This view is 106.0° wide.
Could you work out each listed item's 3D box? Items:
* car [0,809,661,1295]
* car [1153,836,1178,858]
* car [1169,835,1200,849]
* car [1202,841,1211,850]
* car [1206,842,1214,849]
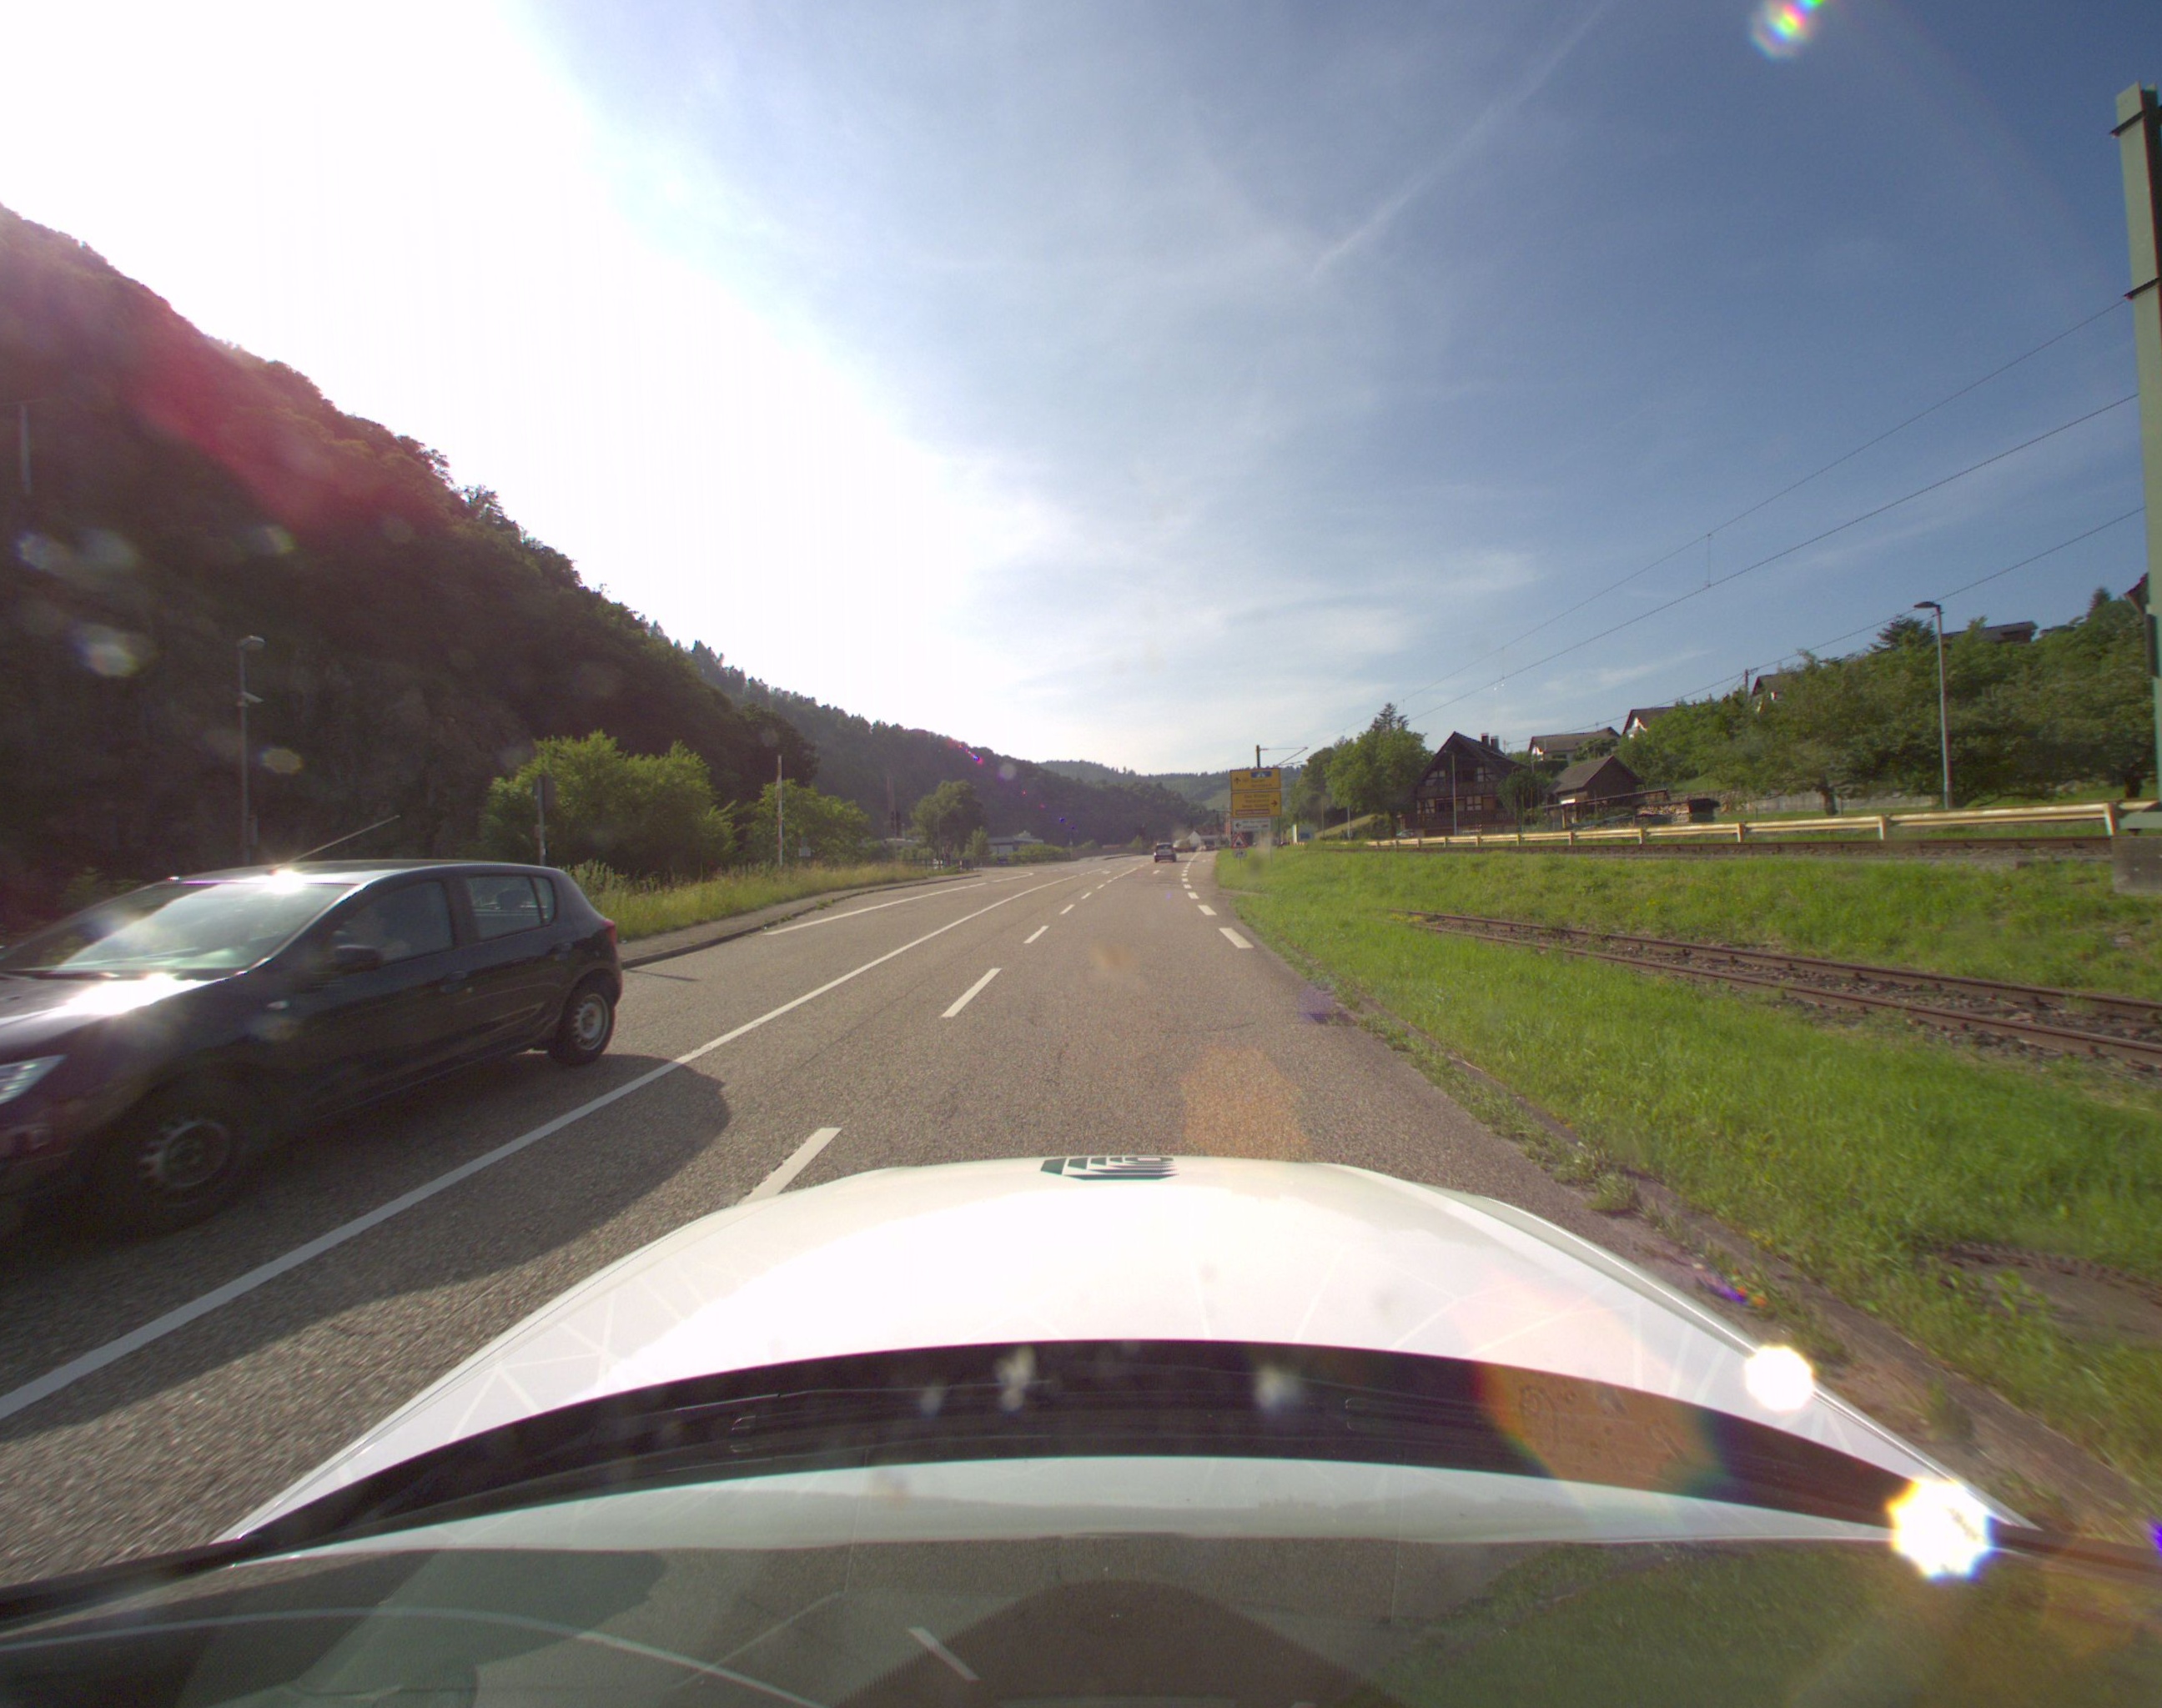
[{"bbox_3d":[-4.429,0.644,4.572,1.841,1.585,4.316,-1,0,0],"label":"car"},{"bbox_3d":[7.272,-0.582,70.648,1.984,1.723,3.996,-4,0,5],"label":"car"},{"bbox_3d":[18.184,-2.130,142.907,5.320,2.013,1.978,-4,0,-36],"label":"car"},{"bbox_3d":[29.756,-1.956,192.382,1.982,2.013,4.010,-3,0,9],"label":"car"},{"bbox_3d":[32.532,-2.093,205.005,1.982,1.618,4.010,-3,0,9],"label":"car"}]
